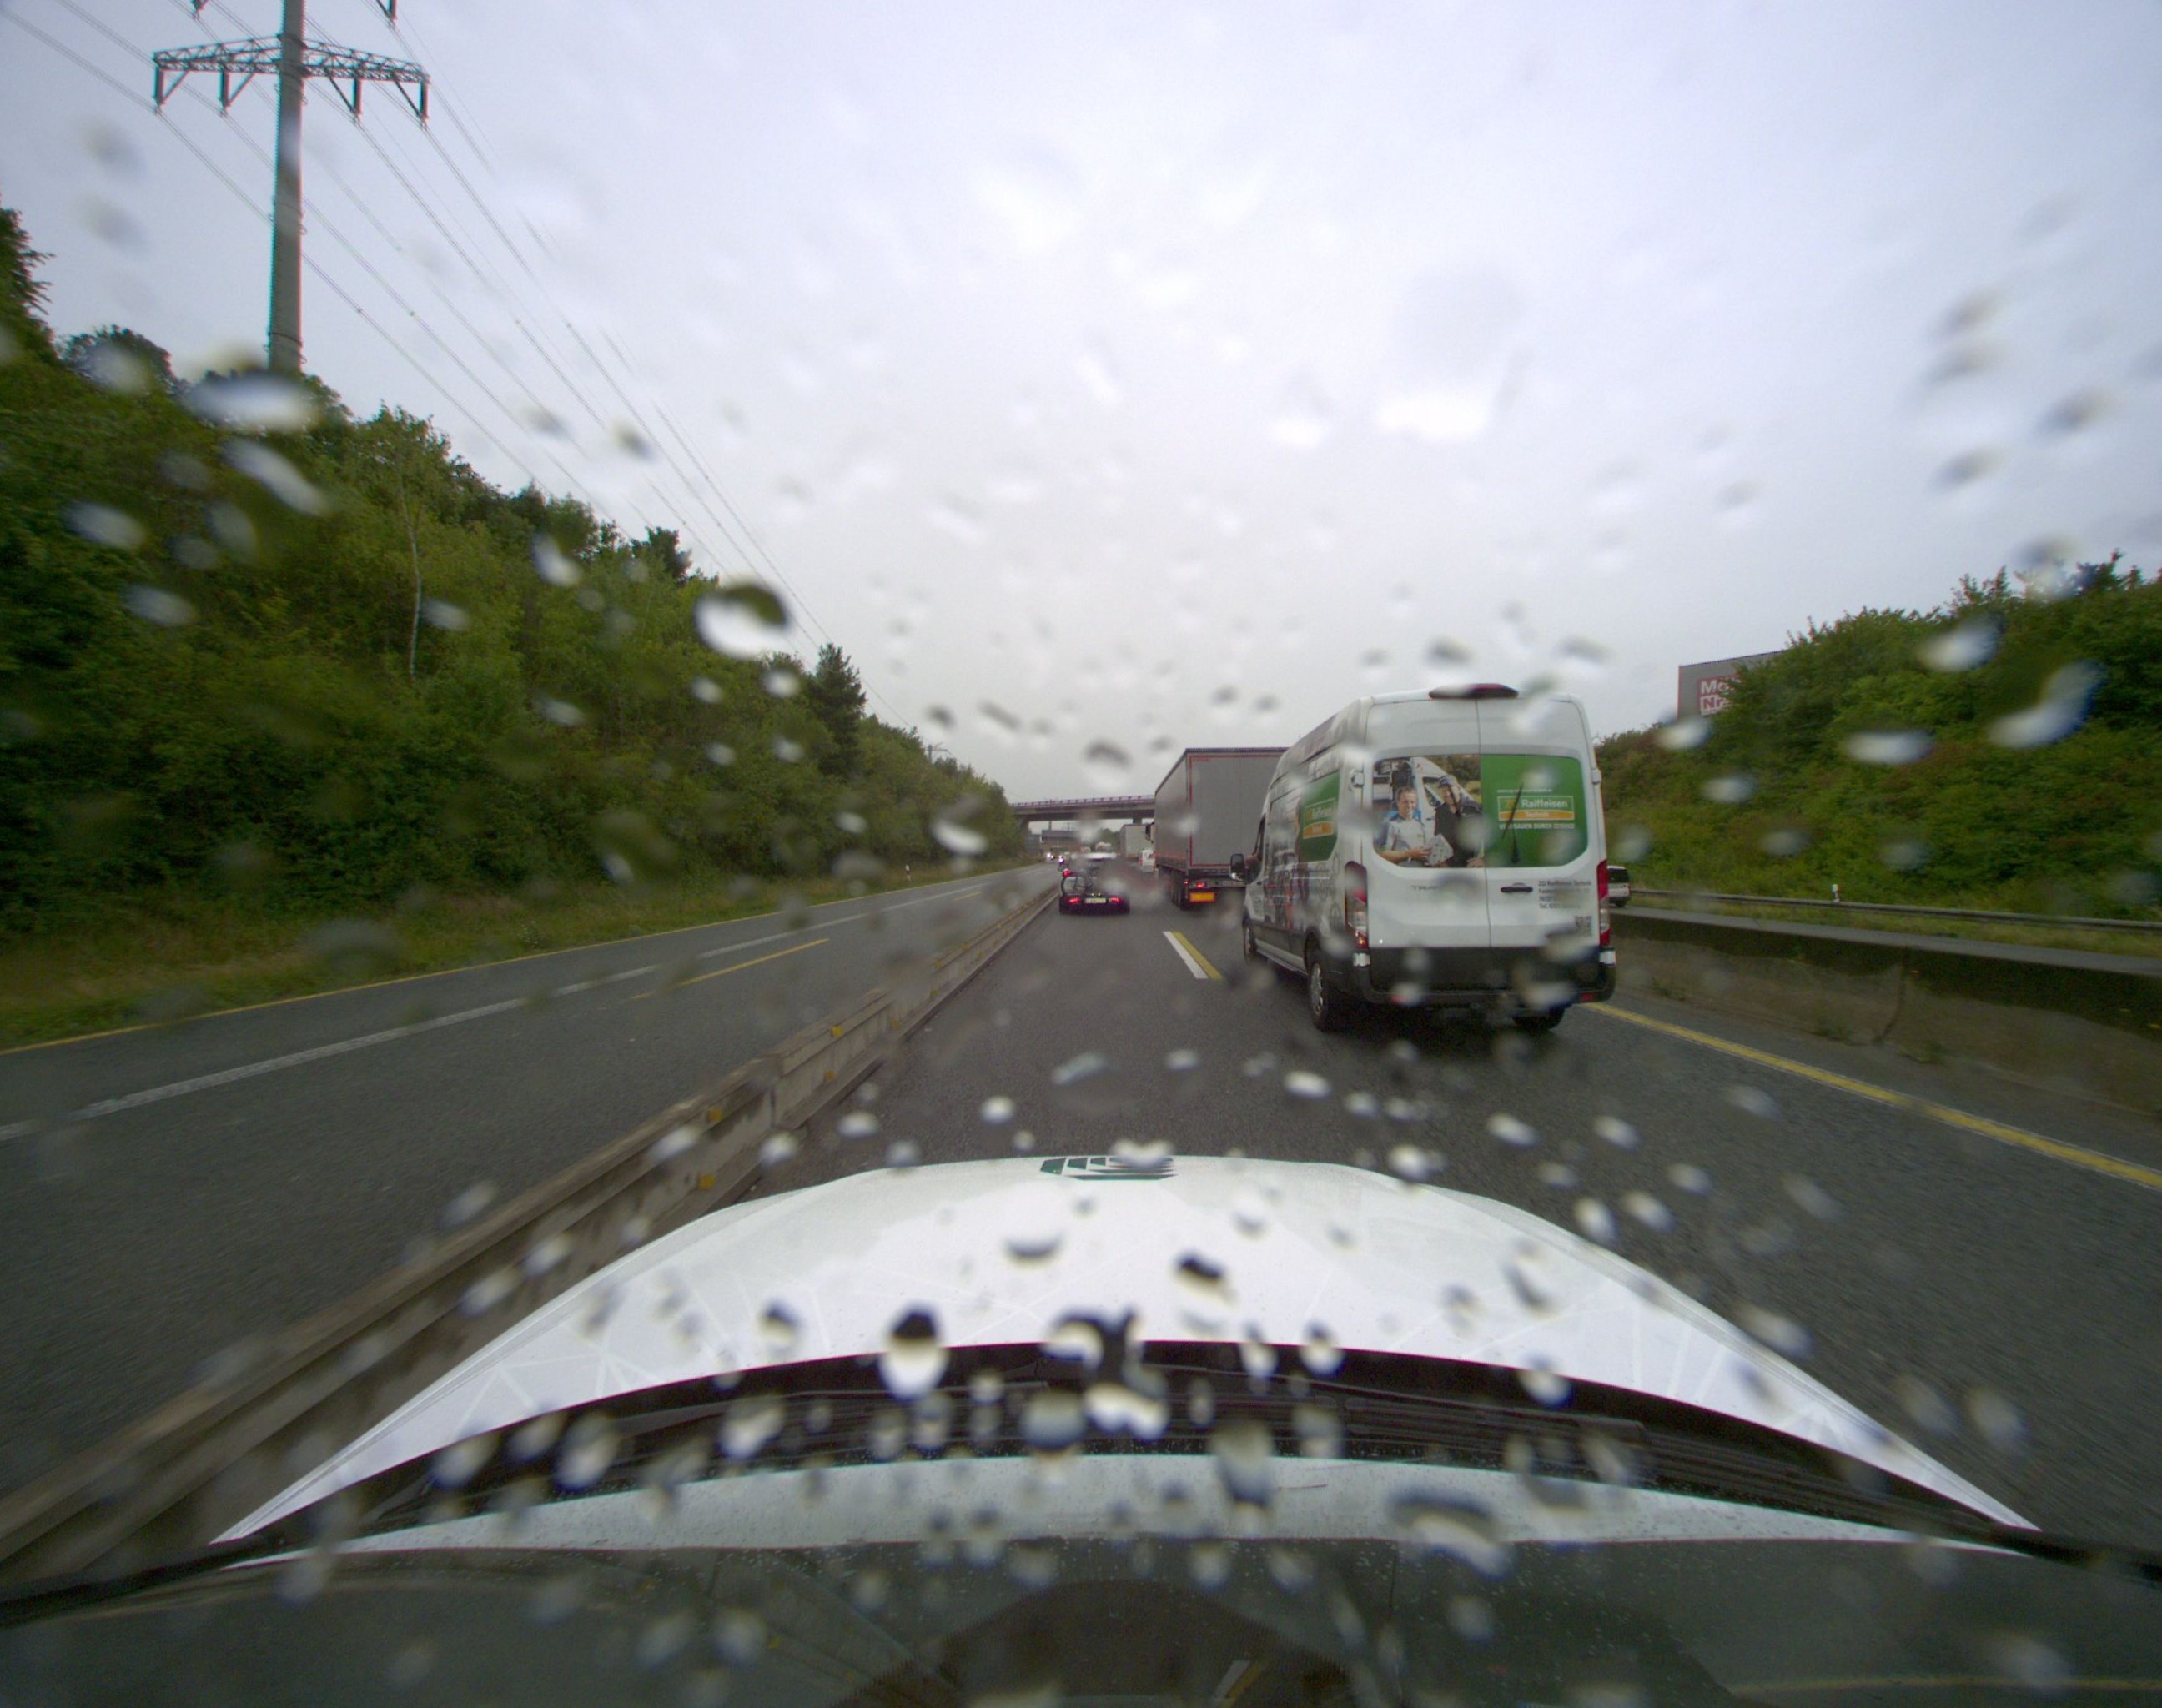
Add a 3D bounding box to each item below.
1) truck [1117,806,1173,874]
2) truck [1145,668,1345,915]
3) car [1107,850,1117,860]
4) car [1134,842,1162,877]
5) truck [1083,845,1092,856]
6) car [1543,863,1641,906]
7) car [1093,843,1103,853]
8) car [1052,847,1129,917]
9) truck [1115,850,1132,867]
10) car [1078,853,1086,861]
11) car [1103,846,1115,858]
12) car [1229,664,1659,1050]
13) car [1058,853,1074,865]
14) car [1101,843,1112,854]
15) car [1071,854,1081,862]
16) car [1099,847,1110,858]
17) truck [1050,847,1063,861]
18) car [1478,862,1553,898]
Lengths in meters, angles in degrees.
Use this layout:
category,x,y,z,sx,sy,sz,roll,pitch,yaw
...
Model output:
category,x,y,z,sx,sy,sz,roll,pitch,yaw
truck,5.940,-1.121,79.072,4.723,5.673,20.390,-1,0,3
truck,4.577,-1.368,28.993,3.963,5.673,20.390,-1,0,3
car,4.875,0.143,128.357,1.632,1.497,3.667,-1,0,2
car,4.326,0.380,53.270,1.663,2.180,4.538,-1,0,3
truck,1.991,-1.125,250.735,2.526,3.352,12.051,-1,0,1
car,22.757,1.314,36.487,1.723,1.769,4.329,-1,0,1
car,3.753,-1.228,179.950,1.986,2.126,4.528,-1,0,2
car,0.333,0.675,21.479,1.803,1.637,4.639,-1,0,3
truck,5.044,0.514,97.087,1.986,2.014,4.001,-1,0,2
car,0.287,0.664,189.339,1.804,1.824,4.634,-1,0,0
car,4.870,-0.313,140.940,1.986,2.014,4.001,-1,0,2
car,3.072,0.044,8.739,2.135,2.676,6.121,-1,0,3
car,-1.850,0.647,103.325,1.788,1.555,4.001,-1,0,2
car,5.233,-1.136,167.771,2.231,2.307,4.573,-1,0,2
car,-1.056,0.870,167.888,1.803,1.633,4.120,-1,0,3
car,4.499,-0.349,154.684,1.986,2.014,4.001,-1,0,2
truck,-6.053,0.022,201.880,2.526,3.352,12.051,-1,0,1
car,22.915,1.327,43.098,1.723,1.757,4.268,-1,0,1
